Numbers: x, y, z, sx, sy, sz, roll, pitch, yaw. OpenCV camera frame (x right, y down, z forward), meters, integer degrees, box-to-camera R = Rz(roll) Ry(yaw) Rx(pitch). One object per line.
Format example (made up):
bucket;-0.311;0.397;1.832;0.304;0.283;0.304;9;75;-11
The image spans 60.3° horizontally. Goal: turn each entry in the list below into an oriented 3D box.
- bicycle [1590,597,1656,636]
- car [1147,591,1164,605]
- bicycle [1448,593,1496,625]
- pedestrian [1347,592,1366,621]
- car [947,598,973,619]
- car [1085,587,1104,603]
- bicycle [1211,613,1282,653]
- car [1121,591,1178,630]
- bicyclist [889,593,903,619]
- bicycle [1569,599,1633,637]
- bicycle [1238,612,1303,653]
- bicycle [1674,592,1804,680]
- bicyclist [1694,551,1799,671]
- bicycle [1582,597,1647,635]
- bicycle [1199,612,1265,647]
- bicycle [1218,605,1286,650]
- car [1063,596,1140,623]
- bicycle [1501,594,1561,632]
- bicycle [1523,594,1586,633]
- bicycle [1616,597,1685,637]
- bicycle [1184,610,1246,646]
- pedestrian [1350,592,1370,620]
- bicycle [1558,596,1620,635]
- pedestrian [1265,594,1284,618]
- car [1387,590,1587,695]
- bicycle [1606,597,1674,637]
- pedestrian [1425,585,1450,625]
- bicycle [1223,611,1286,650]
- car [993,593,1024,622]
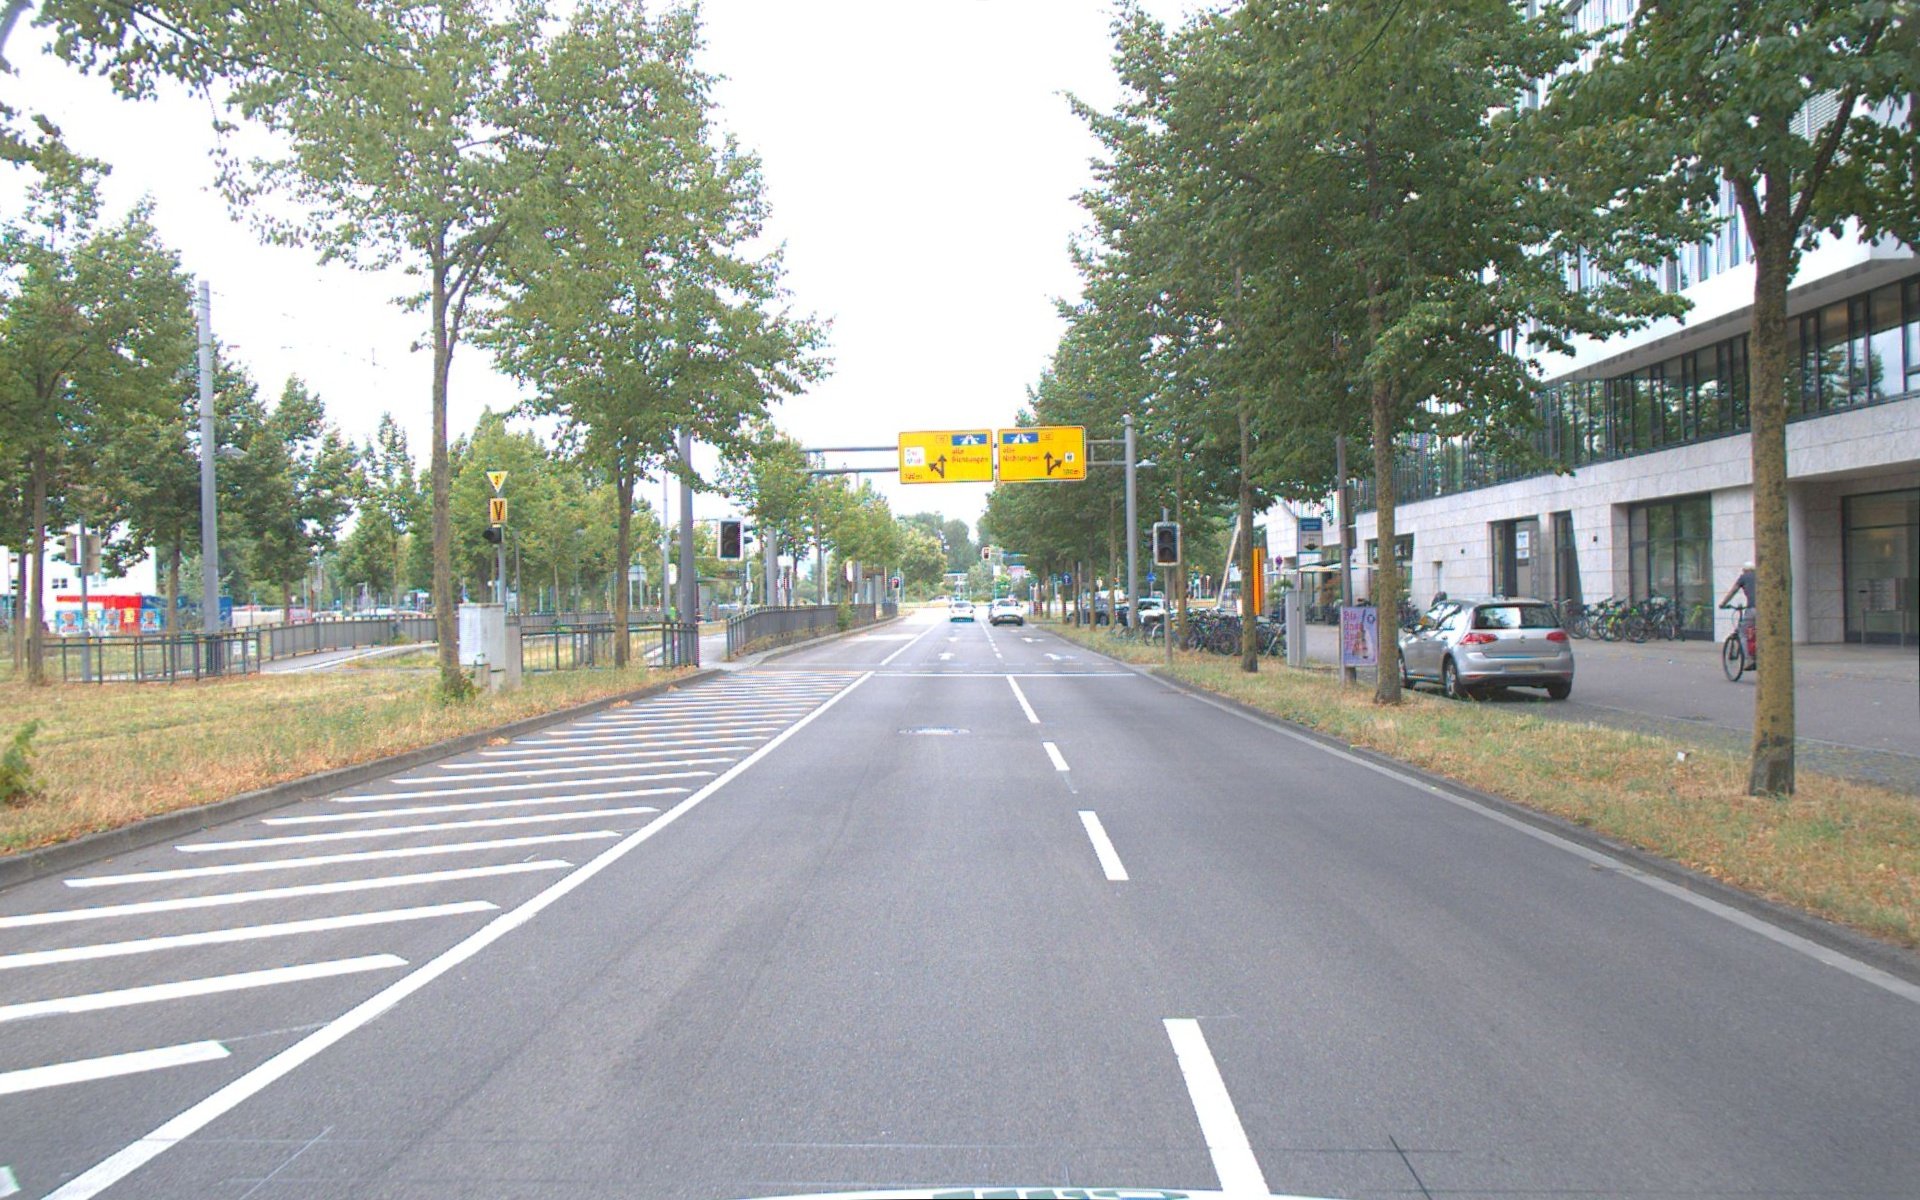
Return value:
bicycle;17.277;0.418;43.118;1.498;0.970;0.533;-2;0;-3
car;23.493;-0.245;198.876;1.745;1.664;4.406;-1;0;10
bicycle;17.484;0.312;56.508;1.579;1.044;0.605;-2;0;-27
pedestrian;17.020;0.262;71.025;0.756;1.213;1.107;-1;0;15
car;-0.023;0.582;120.011;1.738;1.474;3.909;-1;0;-1
car;16.629;-0.610;204.604;1.953;1.822;3.999;1;0;0
bicycle;7.591;0.870;43.804;1.739;1.030;0.609;1;0;-8
car;8.149;0.413;71.508;1.898;1.579;4.593;-1;0;0
bicyclist;-5.212;0.495;134.662;0.726;1.918;0.722;13;-13;-34
bicycle;17.263;0.473;44.547;1.498;0.970;0.533;-2;0;-3
bicycle;7.779;0.810;41.468;1.498;0.970;0.552;1;0;-3
bicycle;12.213;0.538;26.020;0.884;1.256;2.267;-4;0;-1
bicyclist;12.261;0.167;25.813;0.977;1.767;1.129;-4;0;-1
bicycle;17.289;0.422;43.723;1.498;0.970;0.533;-2;0;-3
bicycle;7.522;0.814;45.803;1.682;0.921;0.587;2;0;-8
bicycle;7.585;0.711;42.974;1.635;1.109;0.525;1;0;-3
car;8.300;0.555;97.394;1.924;1.501;4.812;-1;0;-34
bicycle;16.970;0.381;49.150;1.566;1.044;0.533;-2;0;-3
bicycle;16.997;0.385;47.305;1.566;1.044;0.533;-2;0;-3
bicycle;17.361;0.419;41.619;1.498;0.970;0.533;-2;0;-3
bicycle;7.624;0.830;49.469;1.711;0.991;0.608;2;0;-8
pedestrian;17.550;0.256;72.601;0.704;1.213;0.759;-1;0;22
bicycle;17.296;0.421;45.488;1.498;1.044;0.533;-2;0;-3
pedestrian;16.703;0.302;87.972;0.879;1.250;0.951;-1;0;5
car;7.903;0.594;25.209;1.724;1.446;4.183;-1;0;0
bicycle;17.337;0.426;42.178;1.498;0.970;0.533;-2;0;-3
pedestrian;17.382;0.197;60.273;0.740;1.431;0.721;-1;0;7
bicycle;7.527;0.775;42.238;1.498;0.970;0.484;1;0;-3
car;2.932;0.424;100.821;1.742;1.685;4.023;-1;0;1
